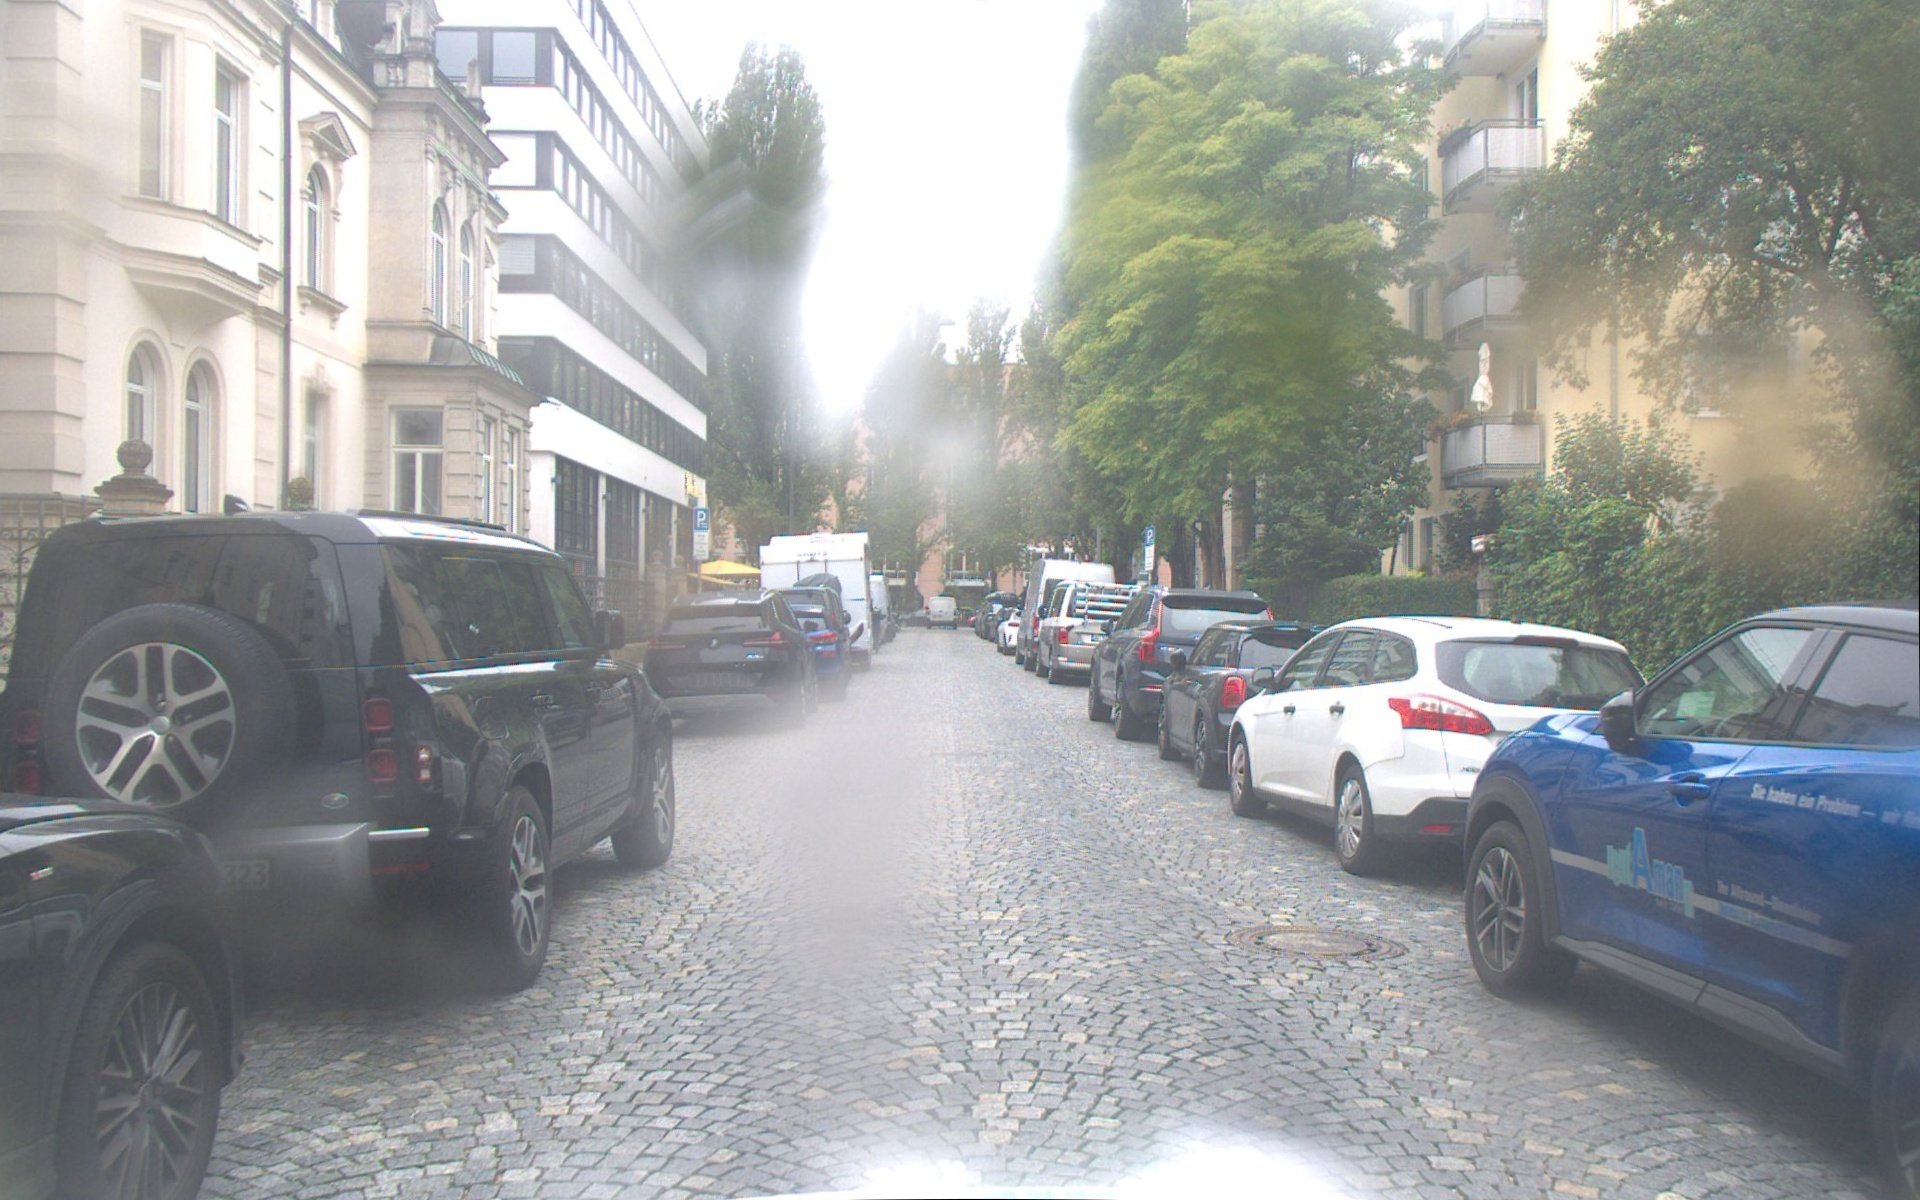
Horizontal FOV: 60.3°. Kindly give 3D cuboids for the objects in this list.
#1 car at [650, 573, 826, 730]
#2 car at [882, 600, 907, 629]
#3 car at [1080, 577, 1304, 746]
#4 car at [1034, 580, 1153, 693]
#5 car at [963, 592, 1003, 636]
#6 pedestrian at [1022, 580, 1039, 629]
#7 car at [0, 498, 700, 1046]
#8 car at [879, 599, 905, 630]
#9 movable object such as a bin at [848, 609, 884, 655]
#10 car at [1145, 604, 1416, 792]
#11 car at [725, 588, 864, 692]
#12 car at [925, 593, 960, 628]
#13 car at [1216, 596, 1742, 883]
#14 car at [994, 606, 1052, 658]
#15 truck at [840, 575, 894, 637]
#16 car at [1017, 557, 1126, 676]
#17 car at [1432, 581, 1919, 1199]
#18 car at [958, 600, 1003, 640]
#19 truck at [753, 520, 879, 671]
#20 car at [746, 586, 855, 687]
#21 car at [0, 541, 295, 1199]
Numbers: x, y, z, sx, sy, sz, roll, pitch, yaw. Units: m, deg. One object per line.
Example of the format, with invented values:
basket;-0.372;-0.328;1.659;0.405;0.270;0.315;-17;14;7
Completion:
car;-2.698;0.616;21.007;1.738;1.748;4.389;1;-1;-2
car;-3.639;0.820;92.231;1.251;1.568;3.118;1;-1;-1
car;2.699;0.704;20.400;1.923;1.790;4.952;1;-1;-2
car;2.598;0.709;33.270;1.764;1.983;4.858;4;-1;-2
car;1.077;0.662;78.135;1.829;1.995;4.000;1;-1;0
pedestrian;3.658;0.219;85.810;0.697;2.466;0.813;-4;3;0
car;-2.586;0.563;7.794;1.942;1.768;4.722;1;0;0
car;-3.582;0.760;87.167;1.264;1.567;3.118;1;-1;-1
movable object such as a bin;-2.914;0.975;51.219;1.042;1.387;1.289;1;-1;-1
car;2.872;0.839;15.651;1.649;1.478;3.964;3;-1;-2
car;-2.553;0.620;26.406;1.901;1.485;4.056;1;-1;-2
car;-0.980;0.612;96.346;1.955;1.970;4.000;1;-1;0
car;3.033;0.752;10.722;1.739;1.454;4.386;1;-1;-4
car;1.931;0.991;51.541;1.567;1.512;3.478;1;-1;-2
truck;-3.684;0.263;66.362;1.953;2.388;4.067;1;-1;-1
car;2.539;0.351;38.981;1.857;2.468;5.609;4;0;-2
car;3.070;0.770;5.226;1.675;1.508;4.246;3;-1;-3
car;0.861;0.863;70.028;1.829;1.633;3.272;1;-1;0
truck;-3.152;-0.097;37.545;2.458;3.085;6.382;-1;0;-2
car;-2.965;0.651;31.459;1.856;1.781;4.165;0;0;-3
car;-2.581;0.701;2.391;1.547;1.618;4.056;-1;-1;1
